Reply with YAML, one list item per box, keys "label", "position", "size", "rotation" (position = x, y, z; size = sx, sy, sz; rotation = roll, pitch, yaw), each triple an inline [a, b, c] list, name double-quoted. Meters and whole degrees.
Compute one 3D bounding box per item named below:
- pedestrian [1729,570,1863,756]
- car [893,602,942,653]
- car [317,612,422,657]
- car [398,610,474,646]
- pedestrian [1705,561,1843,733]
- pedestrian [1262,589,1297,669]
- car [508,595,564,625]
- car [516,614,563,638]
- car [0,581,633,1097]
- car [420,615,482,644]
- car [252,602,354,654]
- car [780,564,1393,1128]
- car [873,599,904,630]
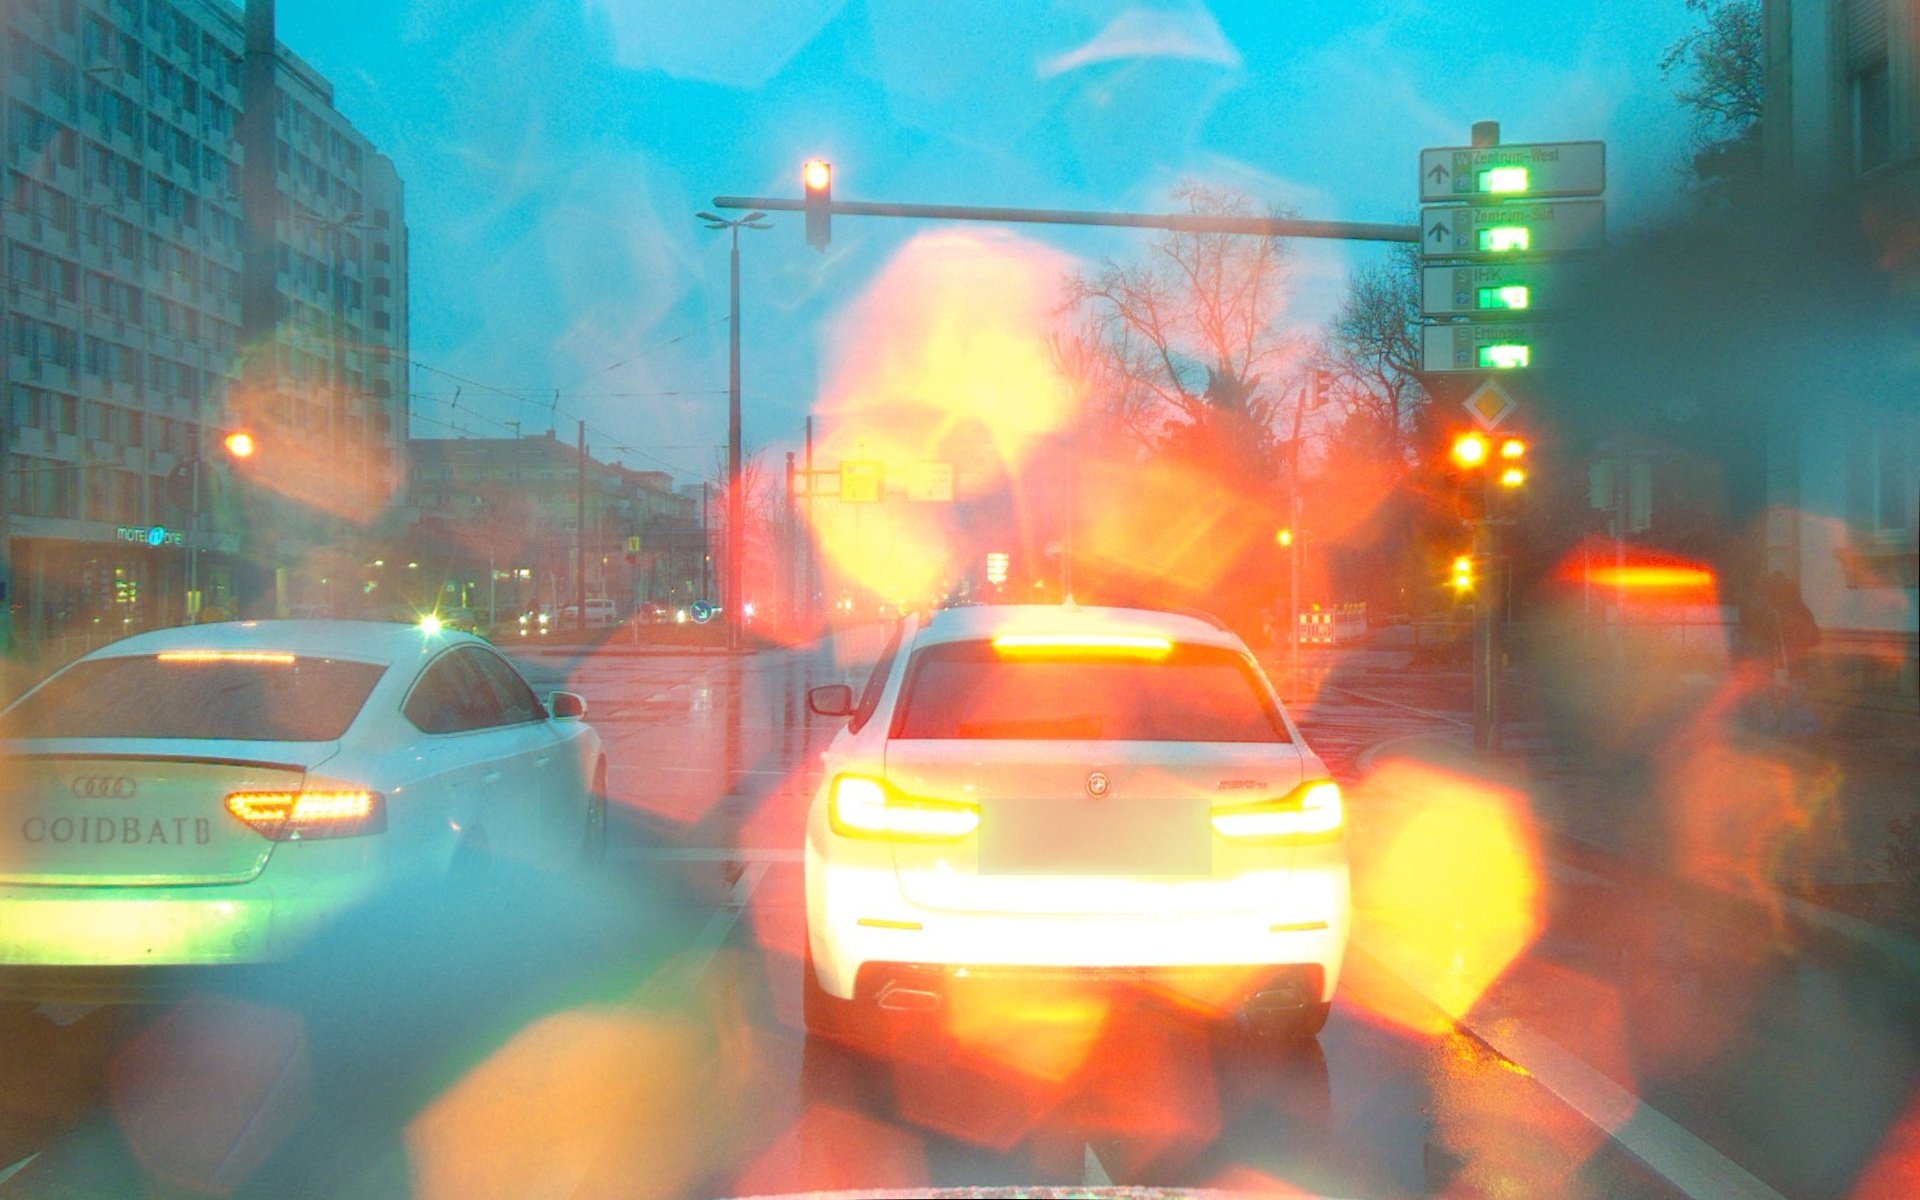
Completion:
- label: "pedestrian"
  position: [7.521, 0.548, 14.923]
  size: [0.765, 1.607, 1.012]
  rotation: [1, 0, 6]
- label: "car"
  position: [-1.754, 1.134, 69.569]
  size: [1.953, 2.049, 3.999]
  rotation: [1, 0, -1]
- label: "car"
  position: [-20.967, 1.204, 59.000]
  size: [1.953, 1.487, 5.094]
  rotation: [1, 0, -1]
- label: "car"
  position: [-22.833, 1.190, 72.267]
  size: [1.954, 1.487, 5.091]
  rotation: [1, 0, -4]
- label: "pedestrian"
  position: [8.160, 0.459, 16.614]
  size: [0.769, 1.661, 1.007]
  rotation: [1, -1, -16]
- label: "pedestrian"
  position: [7.728, 0.702, 39.985]
  size: [0.659, 1.912, 0.714]
  rotation: [1, -1, -3]
- label: "car"
  position: [-22.034, 0.509, 86.152]
  size: [1.954, 1.487, 5.090]
  rotation: [1, 0, -5]
- label: "car"
  position: [-27.336, 1.668, 107.767]
  size: [1.954, 1.487, 5.092]
  rotation: [1, 0, -3]
- label: "car"
  position: [-2.572, 0.705, 6.941]
  size: [1.724, 1.495, 4.249]
  rotation: [1, 0, -3]
- label: "car"
  position: [-27.642, 1.585, 89.970]
  size: [1.954, 1.487, 5.092]
  rotation: [1, 0, -3]
- label: "car"
  position: [-24.018, 0.994, 60.617]
  size: [1.843, 1.821, 4.598]
  rotation: [1, 0, 0]
- label: "car"
  position: [0.265, 0.712, 6.812]
  size: [1.724, 1.580, 4.249]
  rotation: [1, 0, -3]
- label: "car"
  position: [-4.840, 0.978, 112.918]
  size: [1.953, 2.049, 3.999]
  rotation: [1, 0, -1]
